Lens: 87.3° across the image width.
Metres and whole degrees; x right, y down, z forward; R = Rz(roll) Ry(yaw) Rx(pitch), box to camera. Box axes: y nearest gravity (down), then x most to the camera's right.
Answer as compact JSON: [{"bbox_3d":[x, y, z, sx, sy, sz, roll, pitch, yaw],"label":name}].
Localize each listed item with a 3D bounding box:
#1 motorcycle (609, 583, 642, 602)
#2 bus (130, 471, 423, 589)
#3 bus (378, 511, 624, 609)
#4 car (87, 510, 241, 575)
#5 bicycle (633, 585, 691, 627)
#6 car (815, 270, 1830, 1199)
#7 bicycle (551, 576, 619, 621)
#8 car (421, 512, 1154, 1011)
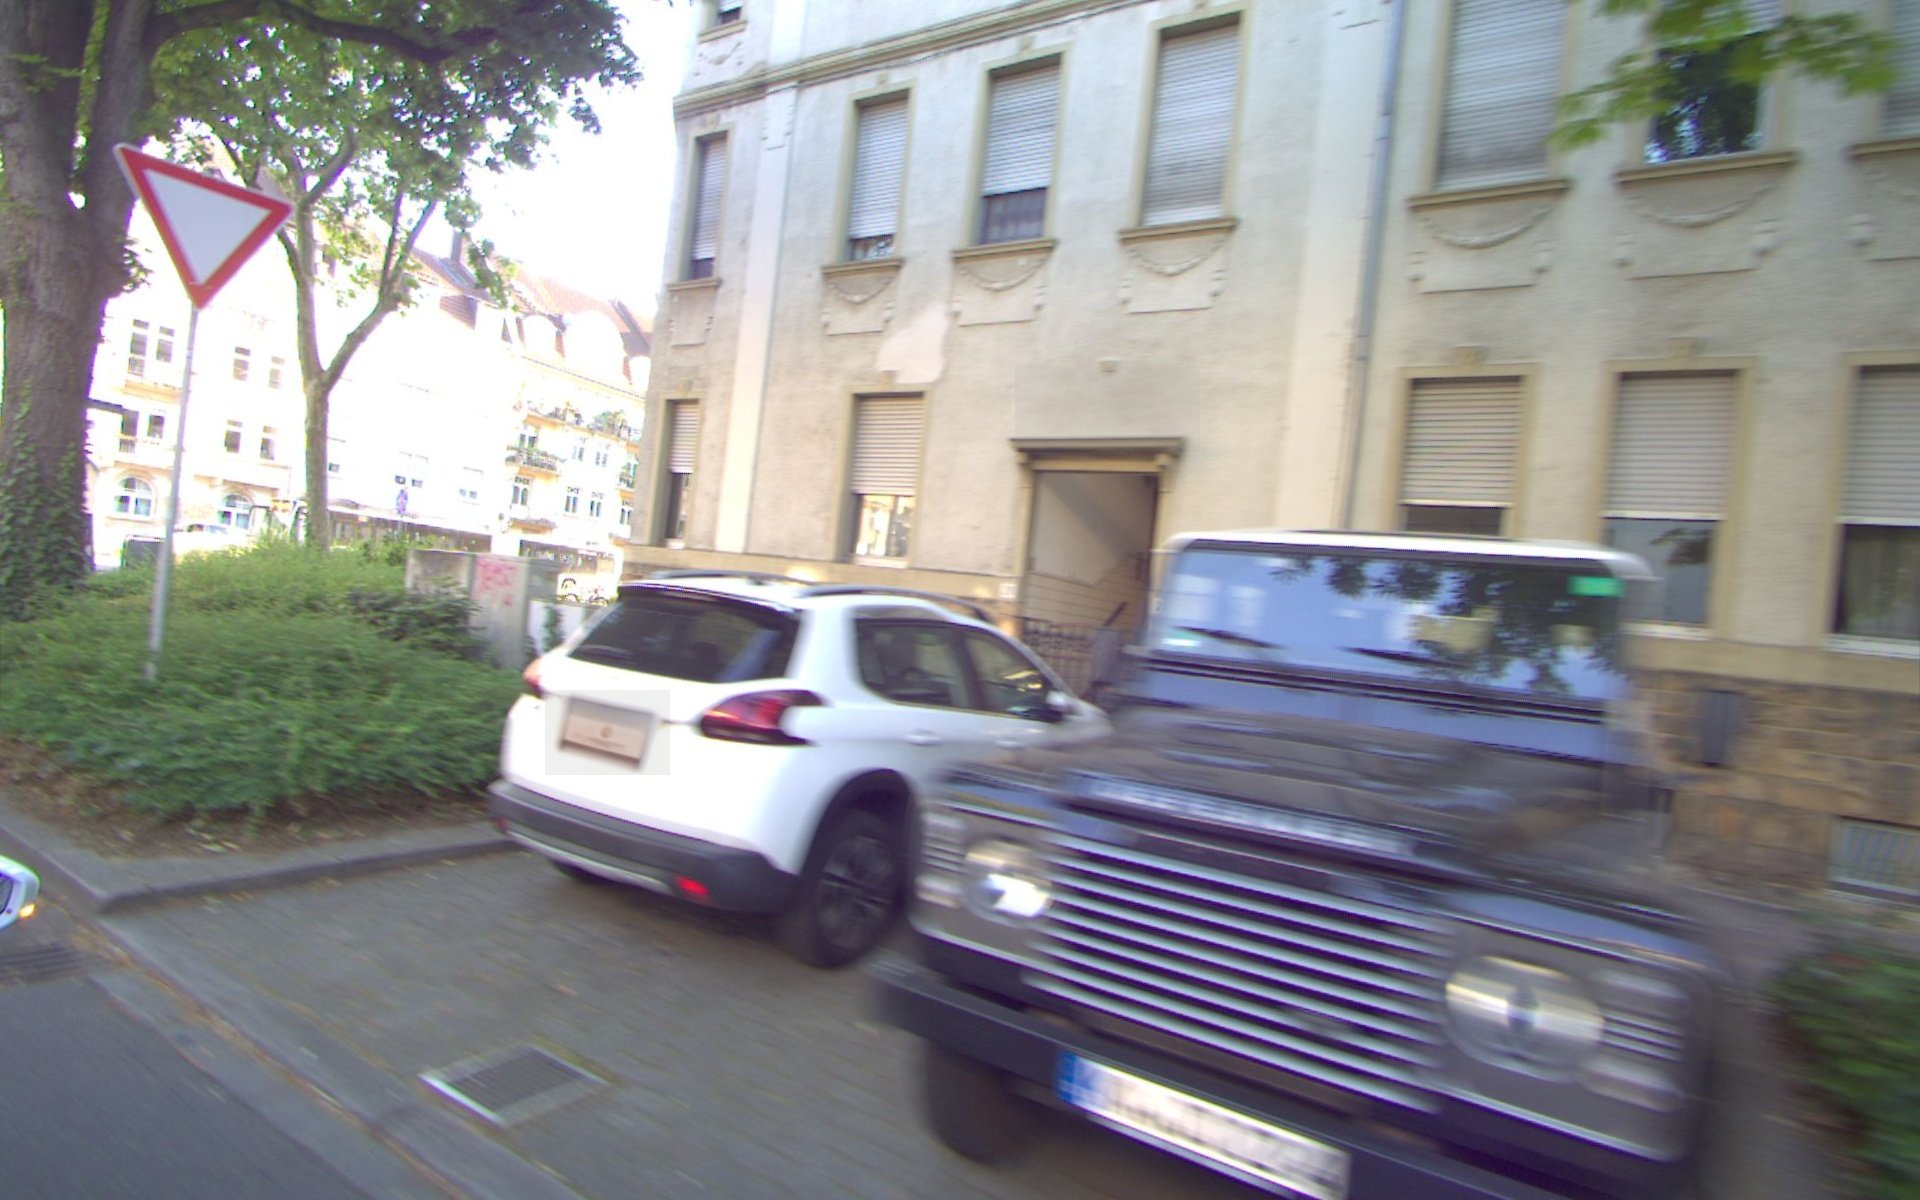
[{"bbox_3d":[-23.903,-0.538,71.886,0.520,1.033,2.418,9,0,28],"label":"motorcycle"},{"bbox_3d":[-29.277,-2.842,43.847,3.221,3.412,9.889,6,-2,30],"label":"bus"},{"bbox_3d":[-23.820,-1.907,53.370,3.210,3.412,11.966,6,-3,30],"label":"bus"},{"bbox_3d":[-29.520,-2.110,37.425,1.905,1.703,3.994,6,-2,32],"label":"car"},{"bbox_3d":[-9.045,0.187,30.632,0.430,1.111,1.931,6,-1,25],"label":"bicycle"},{"bbox_3d":[1.604,0.652,3.790,1.731,2.008,4.426,3,-2,32],"label":"car"},{"bbox_3d":[-10.360,-0.031,27.861,0.364,1.081,1.872,6,-1,29],"label":"bicycle"},{"bbox_3d":[-0.470,0.655,5.554,1.656,1.594,4.042,7,0,30],"label":"car"}]
